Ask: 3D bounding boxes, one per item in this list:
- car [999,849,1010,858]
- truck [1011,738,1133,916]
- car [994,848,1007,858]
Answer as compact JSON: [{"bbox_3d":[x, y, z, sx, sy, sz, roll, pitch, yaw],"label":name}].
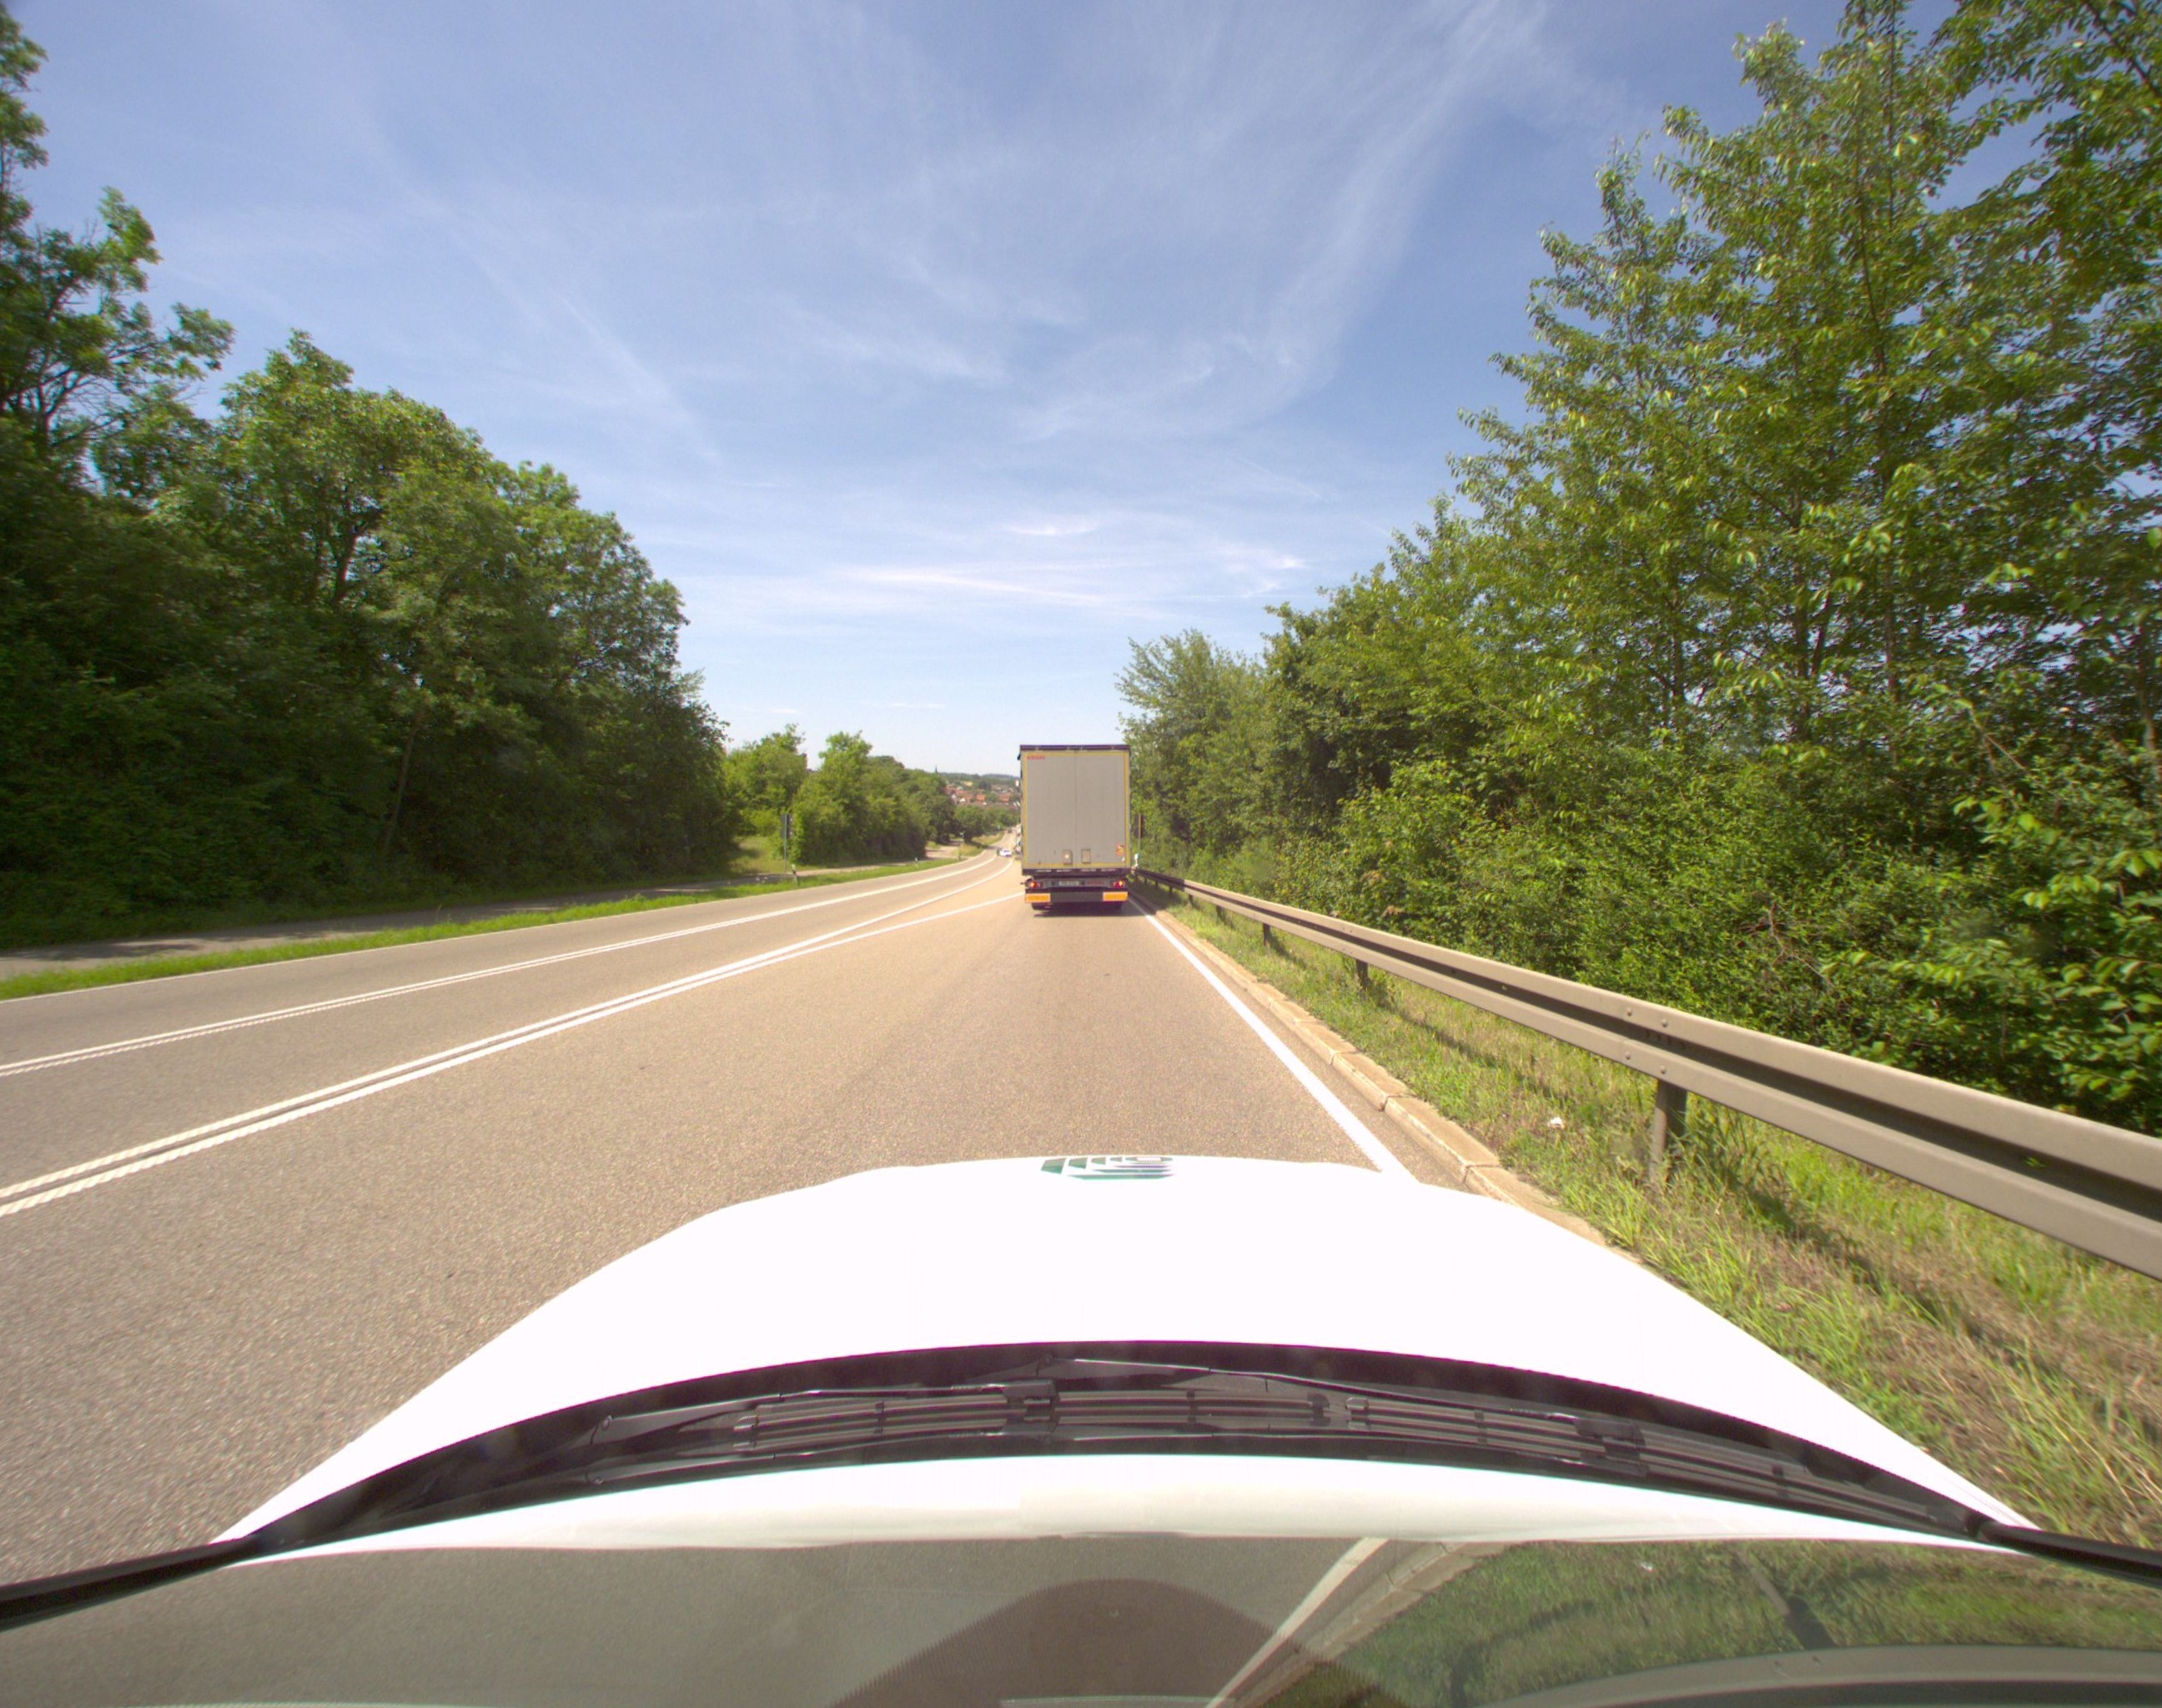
[{"bbox_3d":[-15.498,-0.127,164.789,1.808,1.794,3.822,0,-1,-15],"label":"car"},{"bbox_3d":[-0.151,-0.651,24.544,2.748,4.029,11.923,-1,0,0],"label":"truck"},{"bbox_3d":[-15.624,-0.244,158.385,1.768,1.926,3.727,0,-1,-16],"label":"car"}]
